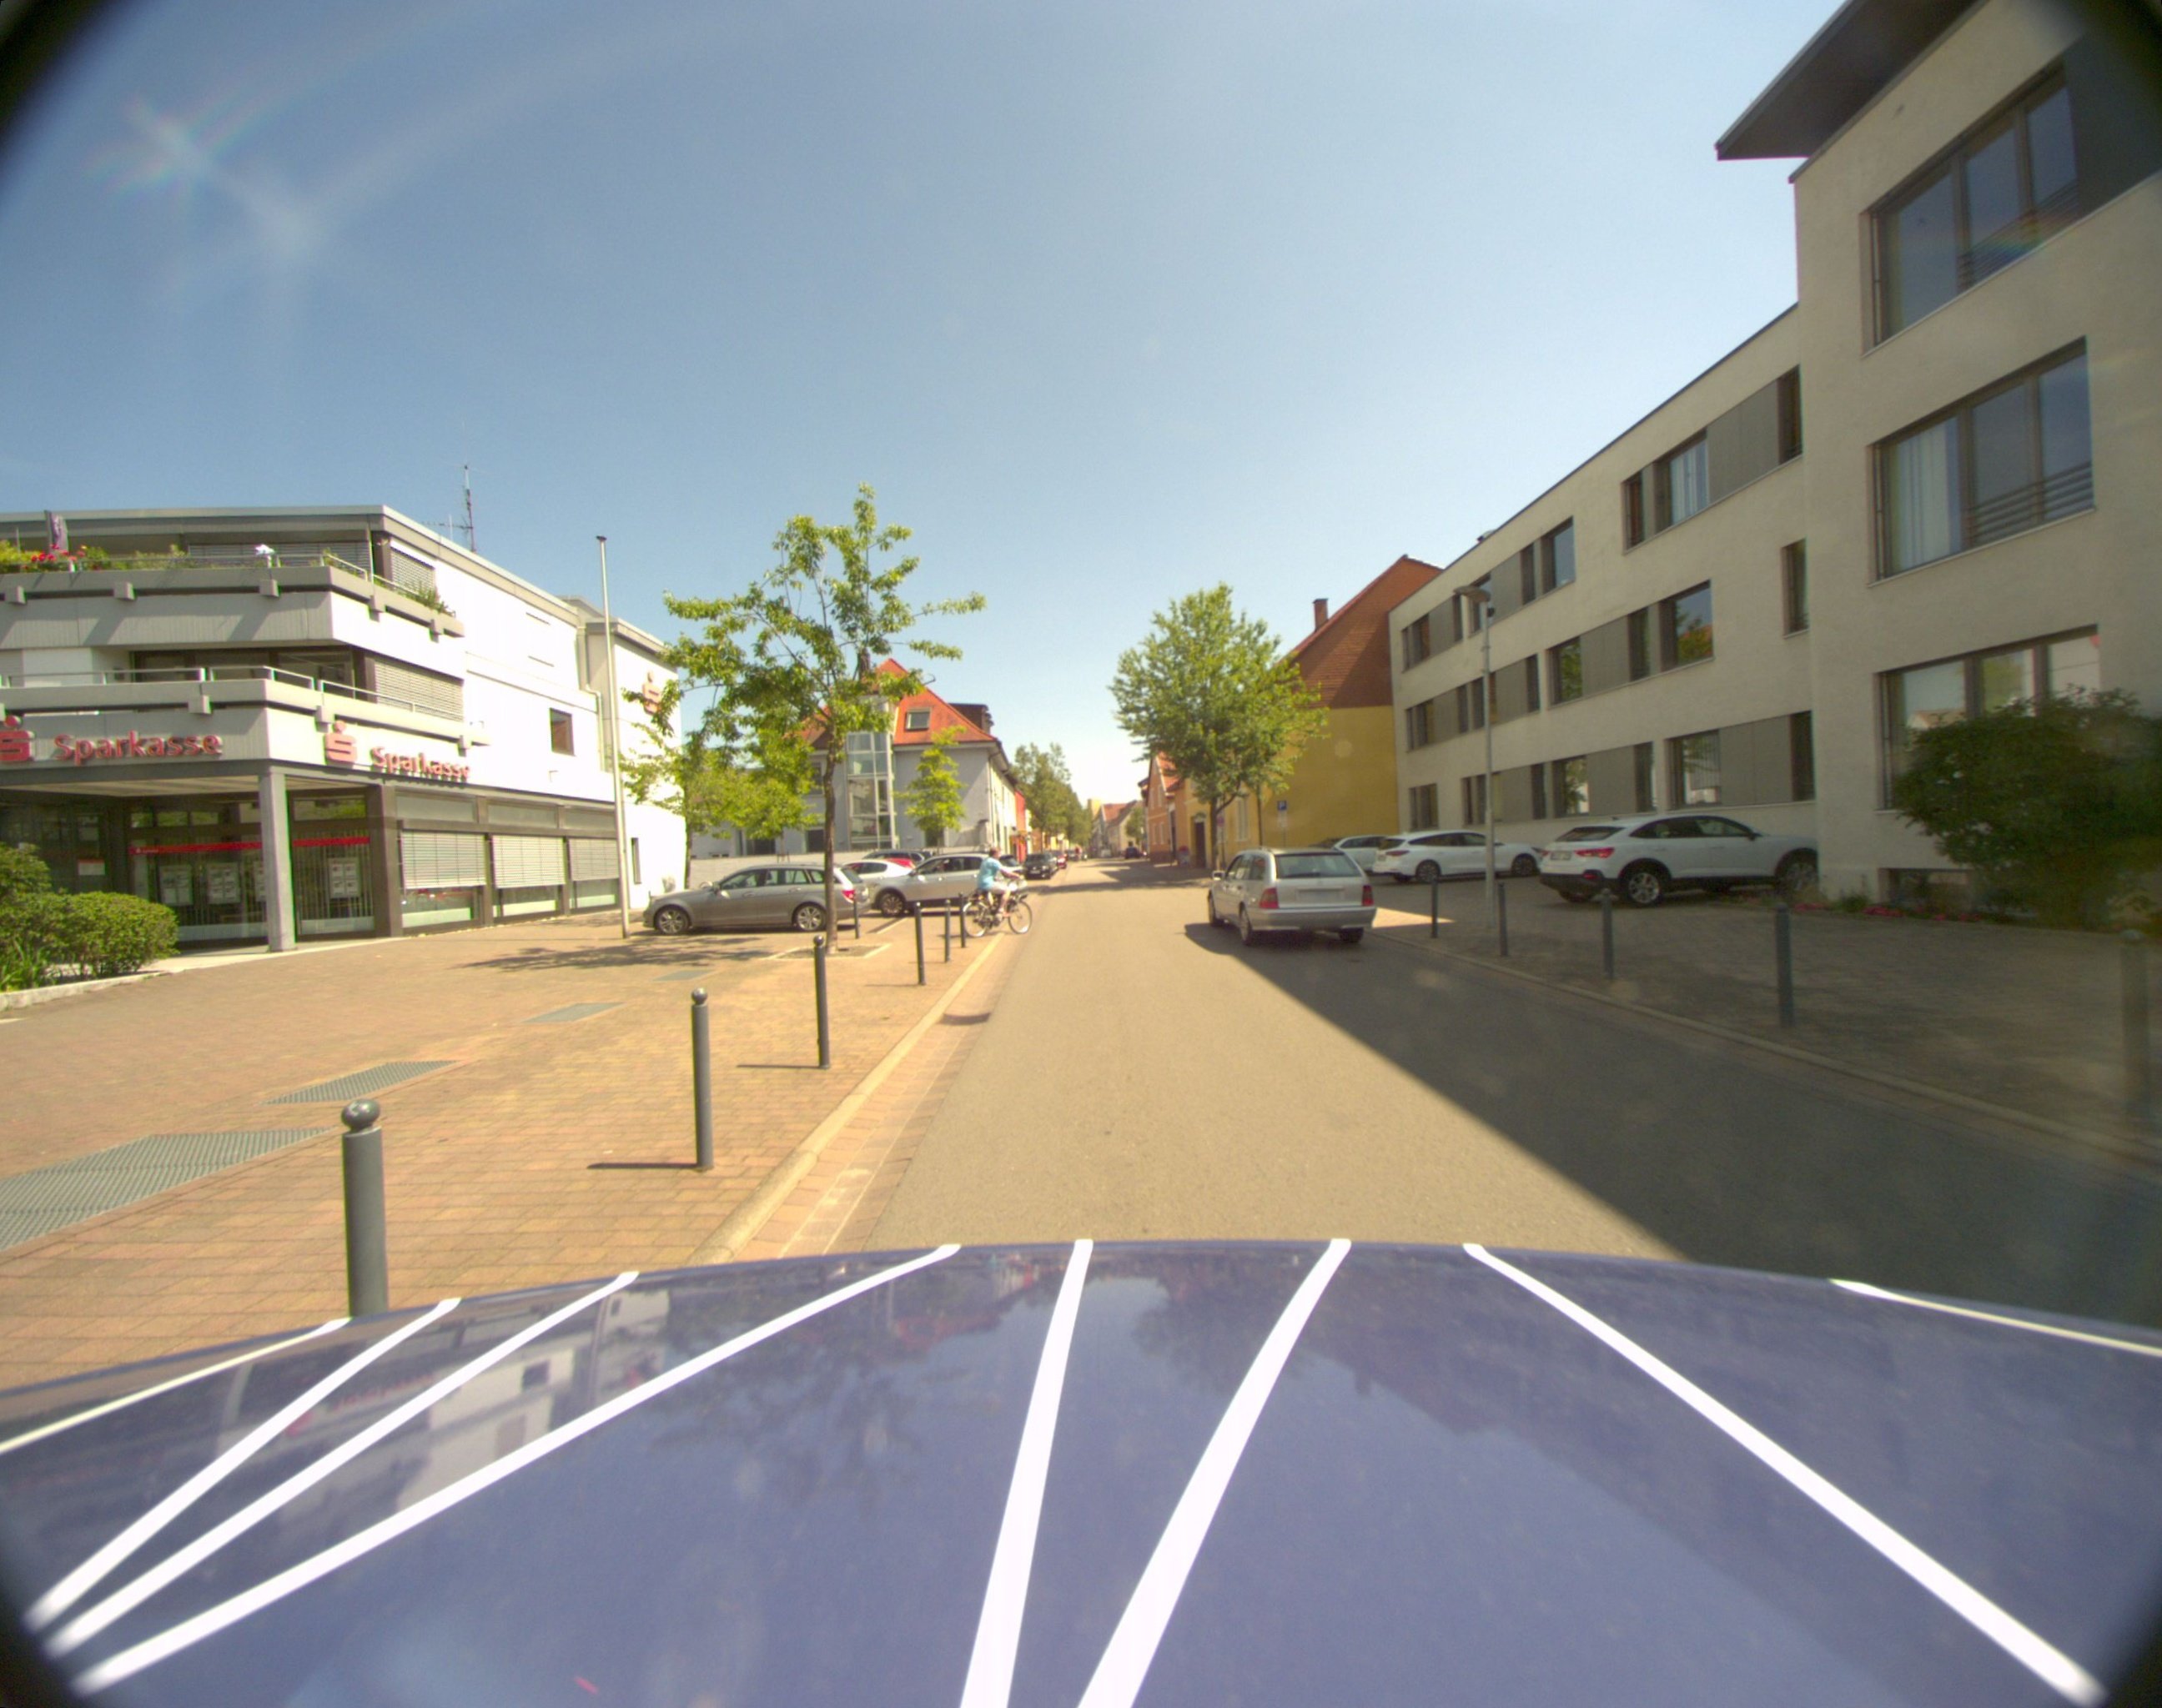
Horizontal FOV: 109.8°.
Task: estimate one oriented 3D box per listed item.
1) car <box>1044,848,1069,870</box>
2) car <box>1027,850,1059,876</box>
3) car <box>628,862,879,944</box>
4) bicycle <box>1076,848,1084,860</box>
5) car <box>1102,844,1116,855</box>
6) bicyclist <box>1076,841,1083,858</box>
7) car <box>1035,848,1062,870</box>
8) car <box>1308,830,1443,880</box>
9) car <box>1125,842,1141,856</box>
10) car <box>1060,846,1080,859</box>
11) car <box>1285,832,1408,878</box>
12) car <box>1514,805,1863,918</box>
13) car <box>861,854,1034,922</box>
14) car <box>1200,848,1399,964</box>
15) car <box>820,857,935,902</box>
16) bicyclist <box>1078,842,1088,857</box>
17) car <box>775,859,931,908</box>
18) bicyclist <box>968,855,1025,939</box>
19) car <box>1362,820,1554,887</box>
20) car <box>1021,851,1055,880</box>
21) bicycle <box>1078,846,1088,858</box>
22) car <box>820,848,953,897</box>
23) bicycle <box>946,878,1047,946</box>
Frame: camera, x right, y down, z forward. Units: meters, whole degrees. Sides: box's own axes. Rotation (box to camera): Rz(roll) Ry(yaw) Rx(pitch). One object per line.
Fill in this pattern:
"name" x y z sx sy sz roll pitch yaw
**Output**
"car" -2.023 0.347 61.757 1.834 1.579 4.086 -4 1 -3
"car" -2.349 0.539 47.926 1.721 1.473 4.095 -2 1 1
"car" -6.911 1.000 16.506 4.589 1.504 1.915 -1 1 -6
"bicycle" -0.121 0.034 83.189 0.635 1.227 1.895 -1 -1 6
"car" 5.904 -0.928 162.536 2.443 2.224 4.959 -3 1 -3
"bicyclist" -0.128 -0.480 83.220 0.645 1.766 0.722 -1 0 6
"car" -2.353 0.353 55.690 1.741 1.504 3.735 -2 0 -1
"car" 10.385 0.038 26.988 3.997 1.443 1.807 -4 0 -1
"car" 6.861 -0.665 99.689 1.863 1.620 4.049 -3 1 7
"car" -1.408 -0.252 99.413 1.928 1.594 4.110 -3 1 7
"car" 10.283 0.035 29.647 3.998 1.423 1.971 -4 0 -4
"car" 10.648 0.110 13.605 4.518 1.545 2.147 -4 1 -2
"car" -3.393 0.851 19.730 3.994 1.565 1.858 -1 2 8
"car" 3.229 0.666 12.224 1.885 1.456 4.435 -1 1 0
"car" -7.227 0.888 27.290 3.740 1.444 1.744 -1 1 -6
"bicyclist" 0.254 -0.514 88.897 1.028 1.635 1.025 -2 1 3
"car" -7.289 0.922 24.672 4.549 1.432 1.838 -1 1 -6
"bicyclist" -1.592 0.786 14.334 0.669 1.518 0.763 -1 1 42
"car" 10.764 -0.027 21.927 4.515 1.545 1.934 -4 2 0
"car" -2.364 0.582 42.257 1.708 1.472 3.921 -1 1 -1
"bicycle" 0.257 -0.214 88.758 0.959 1.363 2.406 -2 1 4
"car" -7.451 0.687 29.563 4.643 1.761 2.147 -1 0 -3
"bicycle" -1.564 1.052 14.357 0.674 1.103 1.900 -1 1 41
